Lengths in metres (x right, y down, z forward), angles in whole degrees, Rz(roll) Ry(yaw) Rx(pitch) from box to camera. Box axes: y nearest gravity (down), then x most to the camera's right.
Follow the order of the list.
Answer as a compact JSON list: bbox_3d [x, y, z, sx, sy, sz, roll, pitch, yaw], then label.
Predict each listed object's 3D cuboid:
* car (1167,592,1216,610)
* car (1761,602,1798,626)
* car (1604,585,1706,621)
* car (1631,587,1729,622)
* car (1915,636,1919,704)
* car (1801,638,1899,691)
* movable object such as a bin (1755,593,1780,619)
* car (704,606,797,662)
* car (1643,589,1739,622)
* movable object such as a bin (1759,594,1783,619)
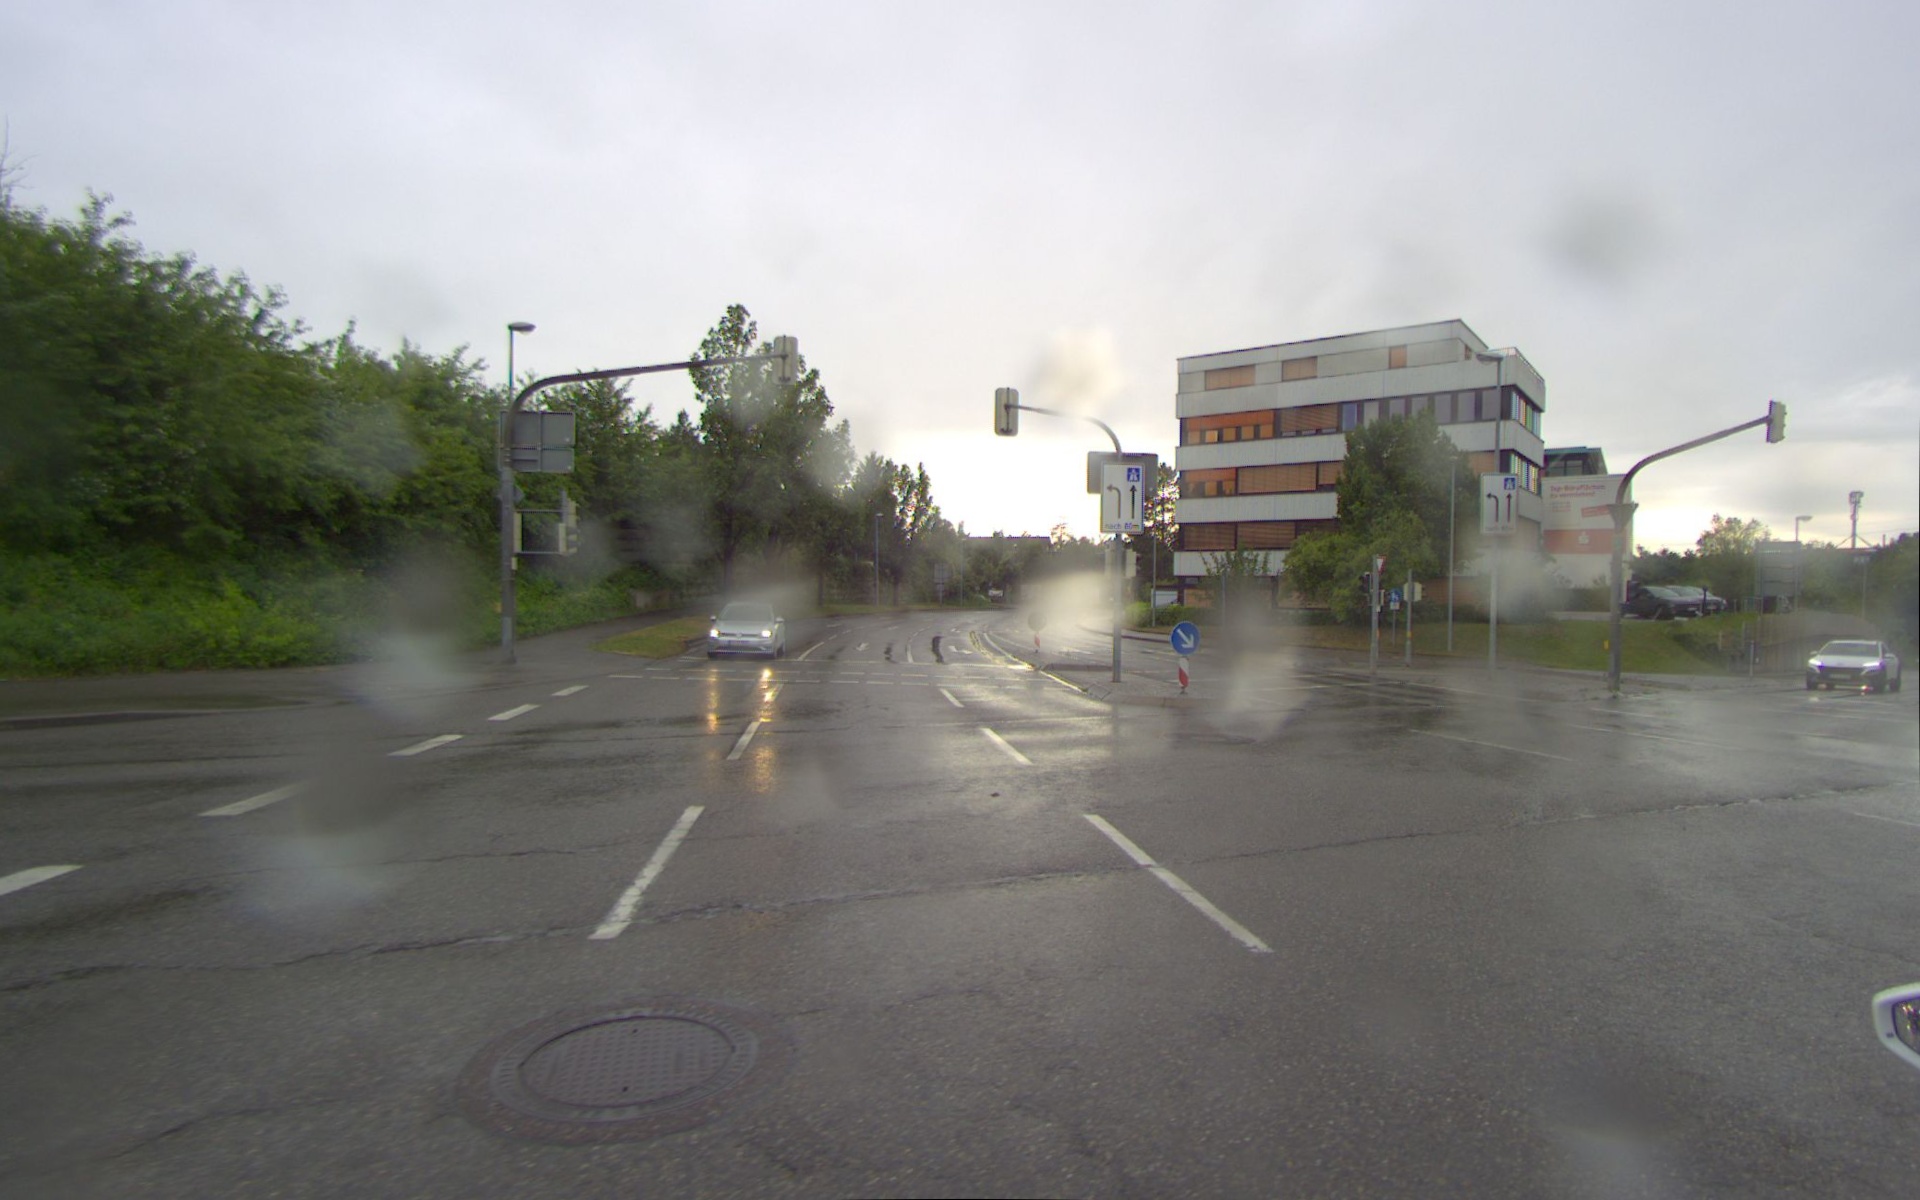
[{"bbox_3d":[19.404,0.098,84.191,3.691,1.418,1.997,1,0,27],"label":"car"},{"bbox_3d":[57.578,0.967,70.550,1.807,1.461,3.980,3,0,42],"label":"car"},{"bbox_3d":[35.162,0.135,50.947,1.870,1.607,3.990,4,0,-12],"label":"car"},{"bbox_3d":[37.514,0.224,52.455,1.868,1.607,3.994,4,0,-8],"label":"car"},{"bbox_3d":[23.480,1.641,23.146,3.967,1.514,1.647,2,-1,-40],"label":"car"},{"bbox_3d":[27.976,1.993,31.537,3.967,1.514,1.706,2,-1,-40],"label":"car"},{"bbox_3d":[50.217,0.379,62.445,1.071,1.456,1.439,3,0,42],"label":"movable object such as a bin"},{"bbox_3d":[-5.641,0.869,27.538,1.728,1.381,4.530,2,0,-2],"label":"car"},{"bbox_3d":[39.631,0.300,54.576,1.868,1.607,3.994,4,0,-8],"label":"car"},{"bbox_3d":[51.226,0.415,63.419,1.071,1.456,1.439,3,0,42],"label":"movable object such as a bin"}]
